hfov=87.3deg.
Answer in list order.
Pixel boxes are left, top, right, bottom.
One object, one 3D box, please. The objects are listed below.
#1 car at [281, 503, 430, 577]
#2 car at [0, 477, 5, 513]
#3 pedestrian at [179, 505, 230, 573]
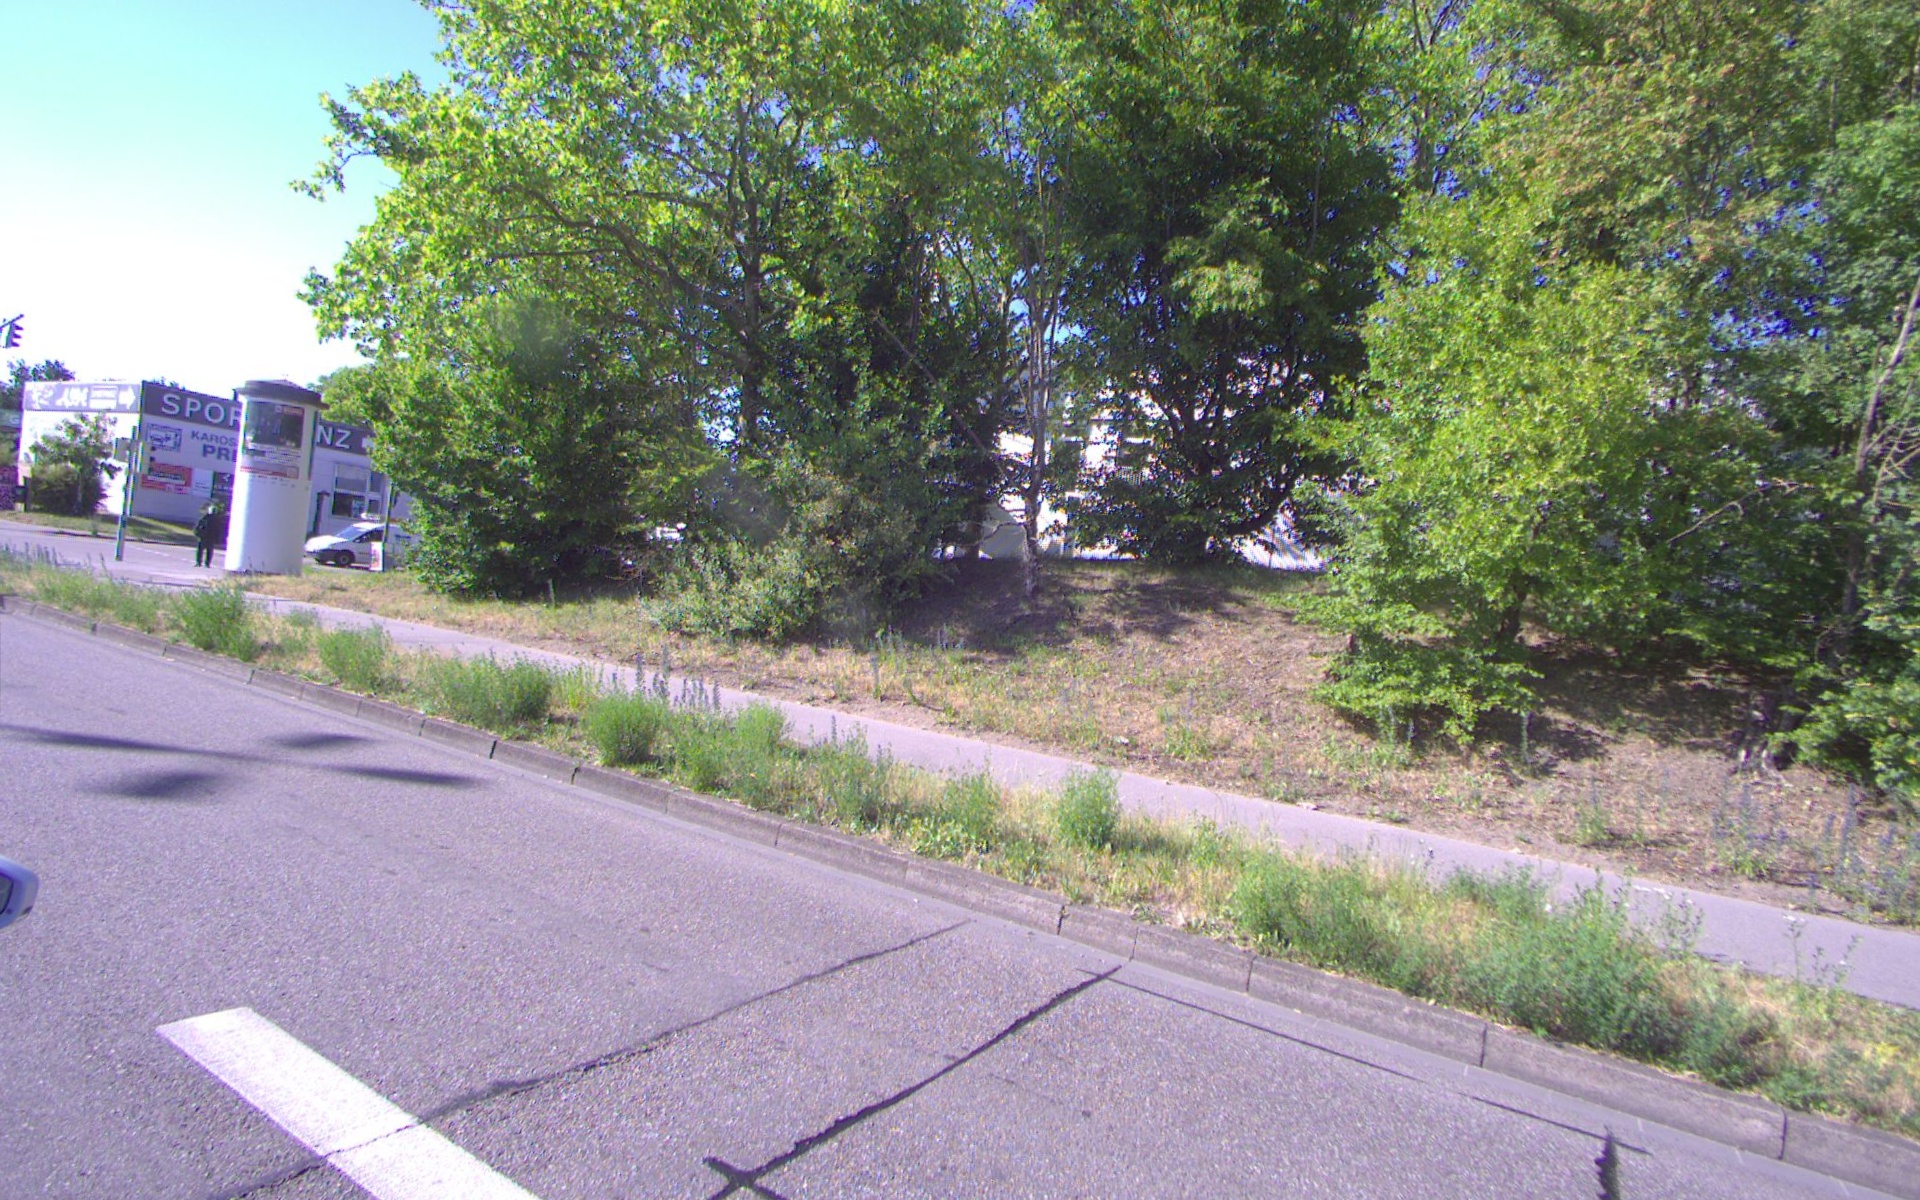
[{"bbox_3d":[-23.412,-2.293,39.150,1.965,2.171,4.415,7,-1,28],"label":"car"},{"bbox_3d":[-48.295,-5.347,47.692,1.663,1.726,4.003,7,-1,16],"label":"car"},{"bbox_3d":[-21.046,-1.700,28.033,0.841,1.743,0.822,7,0,39],"label":"pedestrian"}]
